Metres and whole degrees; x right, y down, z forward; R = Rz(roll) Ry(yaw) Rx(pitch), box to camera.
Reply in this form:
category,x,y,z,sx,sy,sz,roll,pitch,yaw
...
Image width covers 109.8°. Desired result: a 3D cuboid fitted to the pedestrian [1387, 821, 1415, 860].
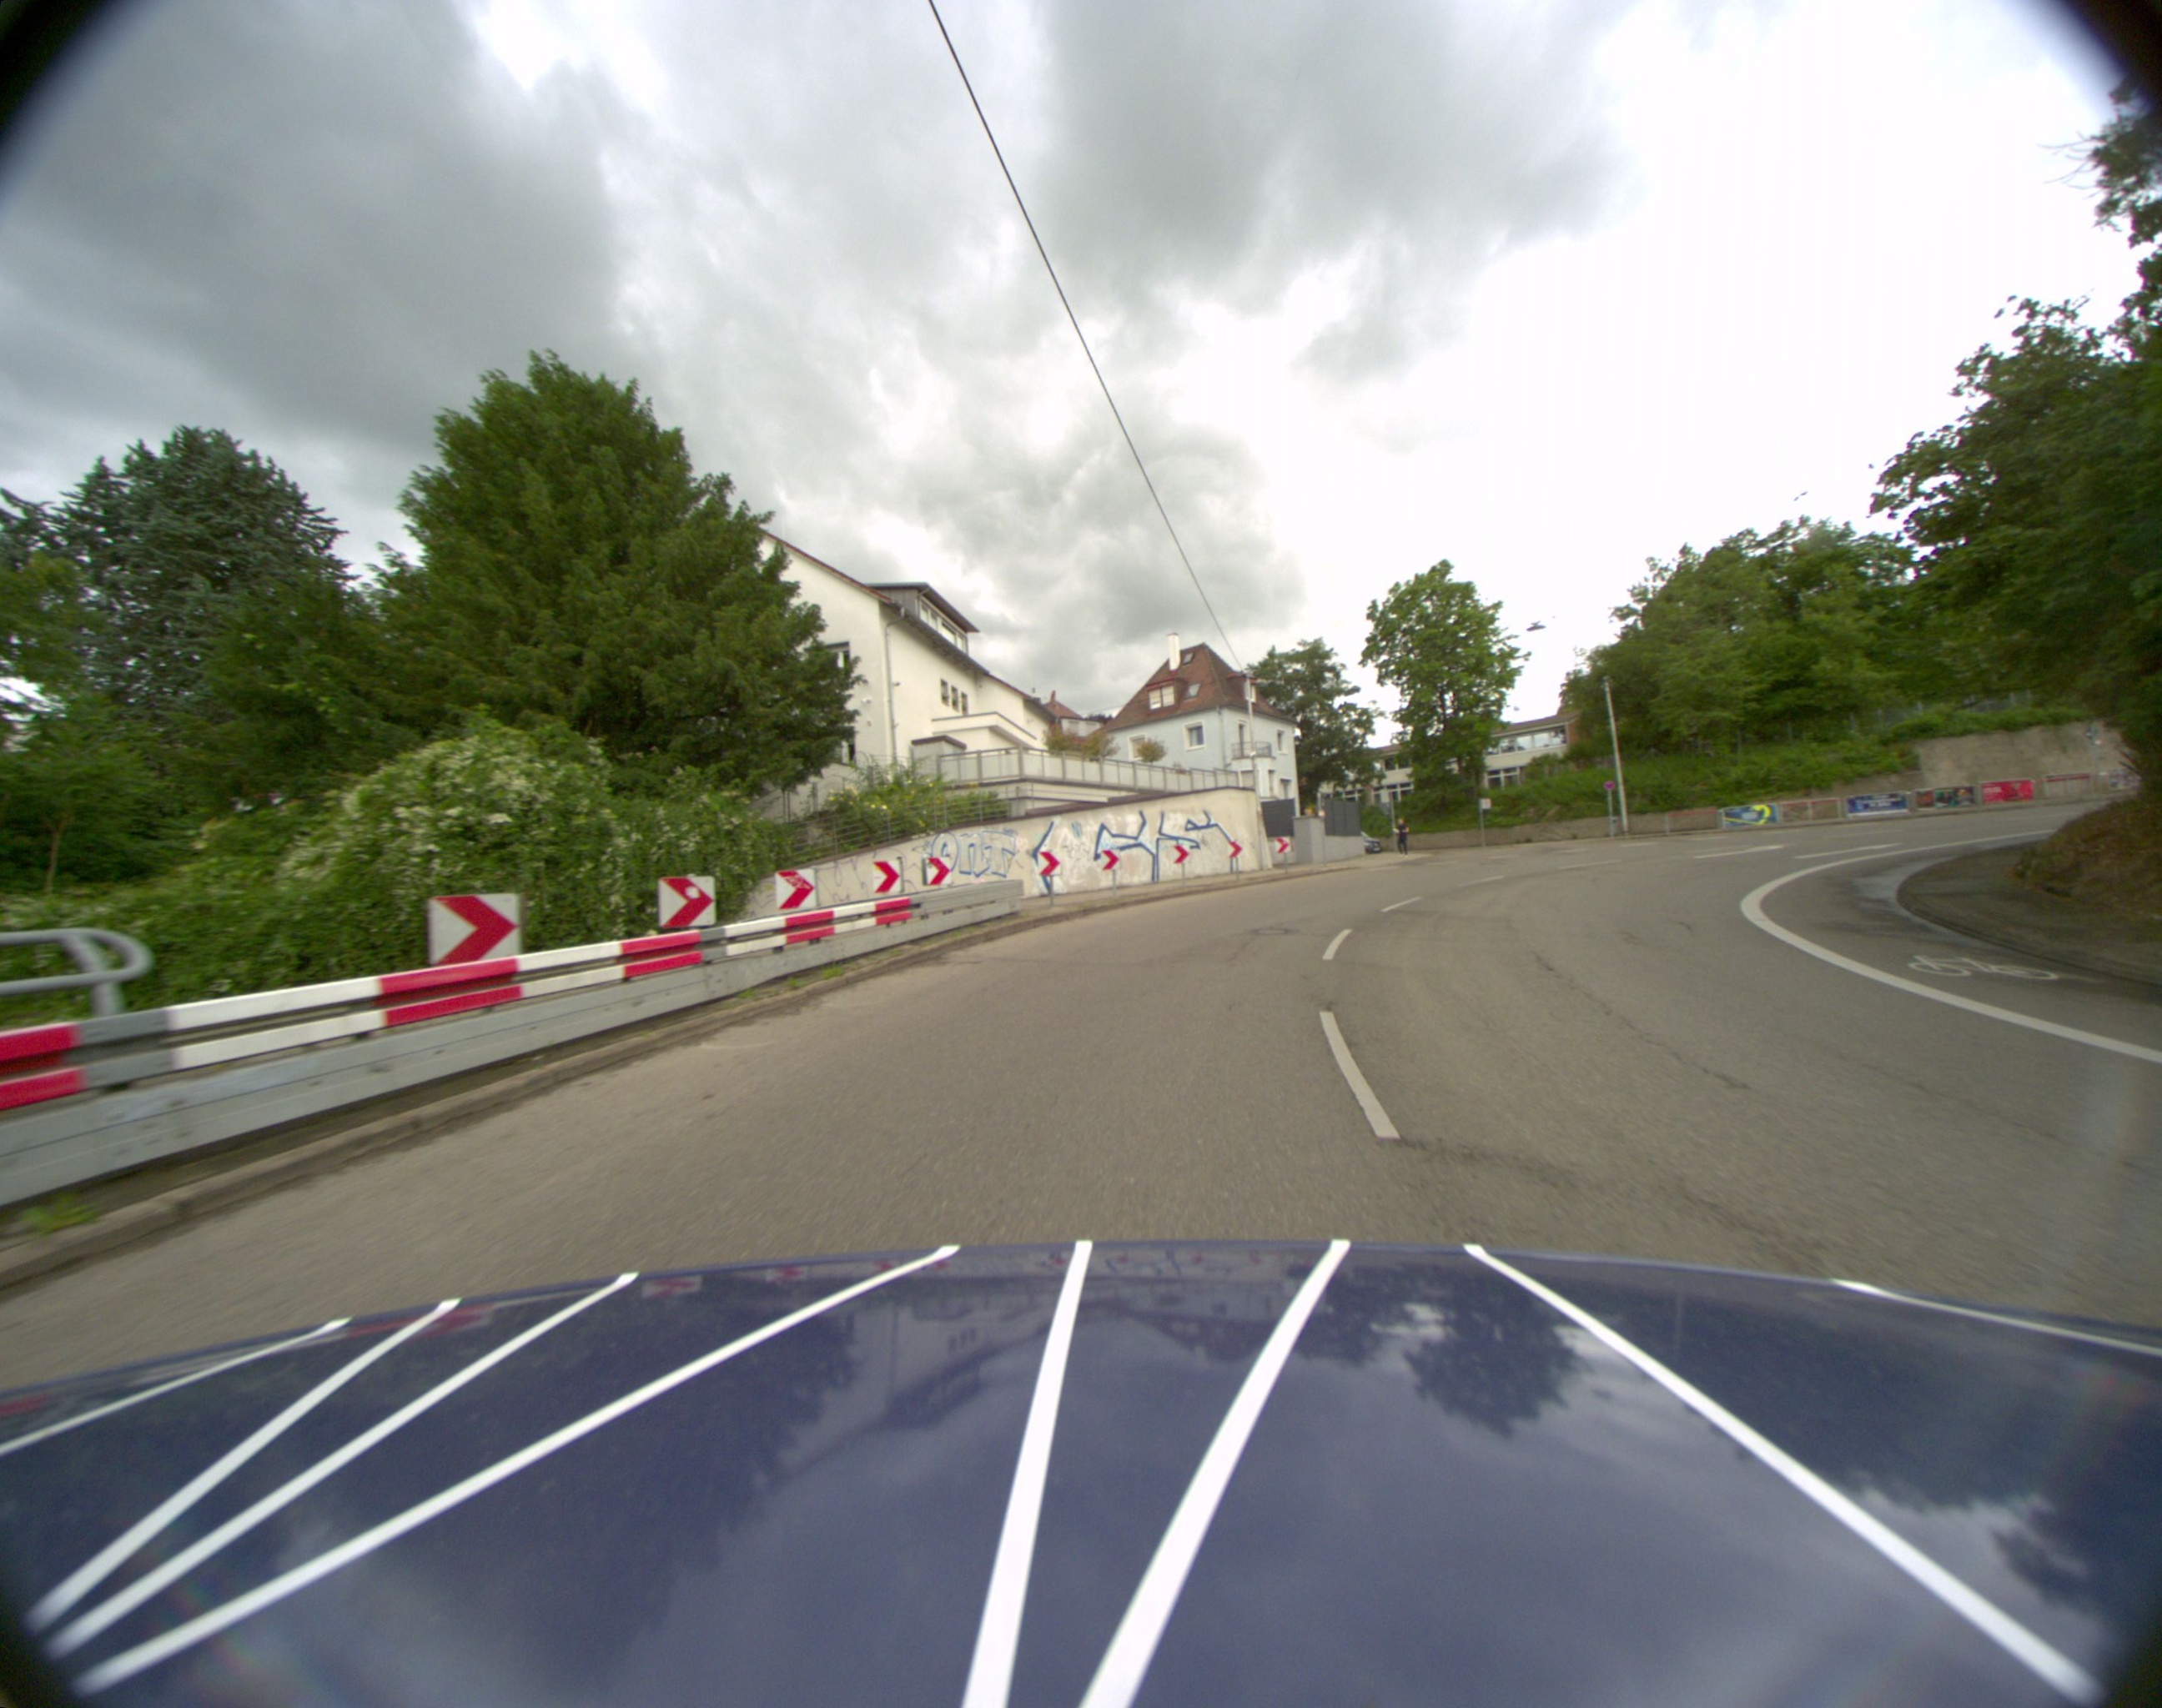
category,x,y,z,sx,sy,sz,roll,pitch,yaw
pedestrian,15.482,-0.664,36.802,0.984,1.817,0.574,-4,0,-6

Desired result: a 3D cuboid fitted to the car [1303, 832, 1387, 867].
category,x,y,z,sx,sy,sz,roll,pitch,yaw
car,16.835,-0.259,48.718,1.954,1.852,4.830,-3,-1,-32
